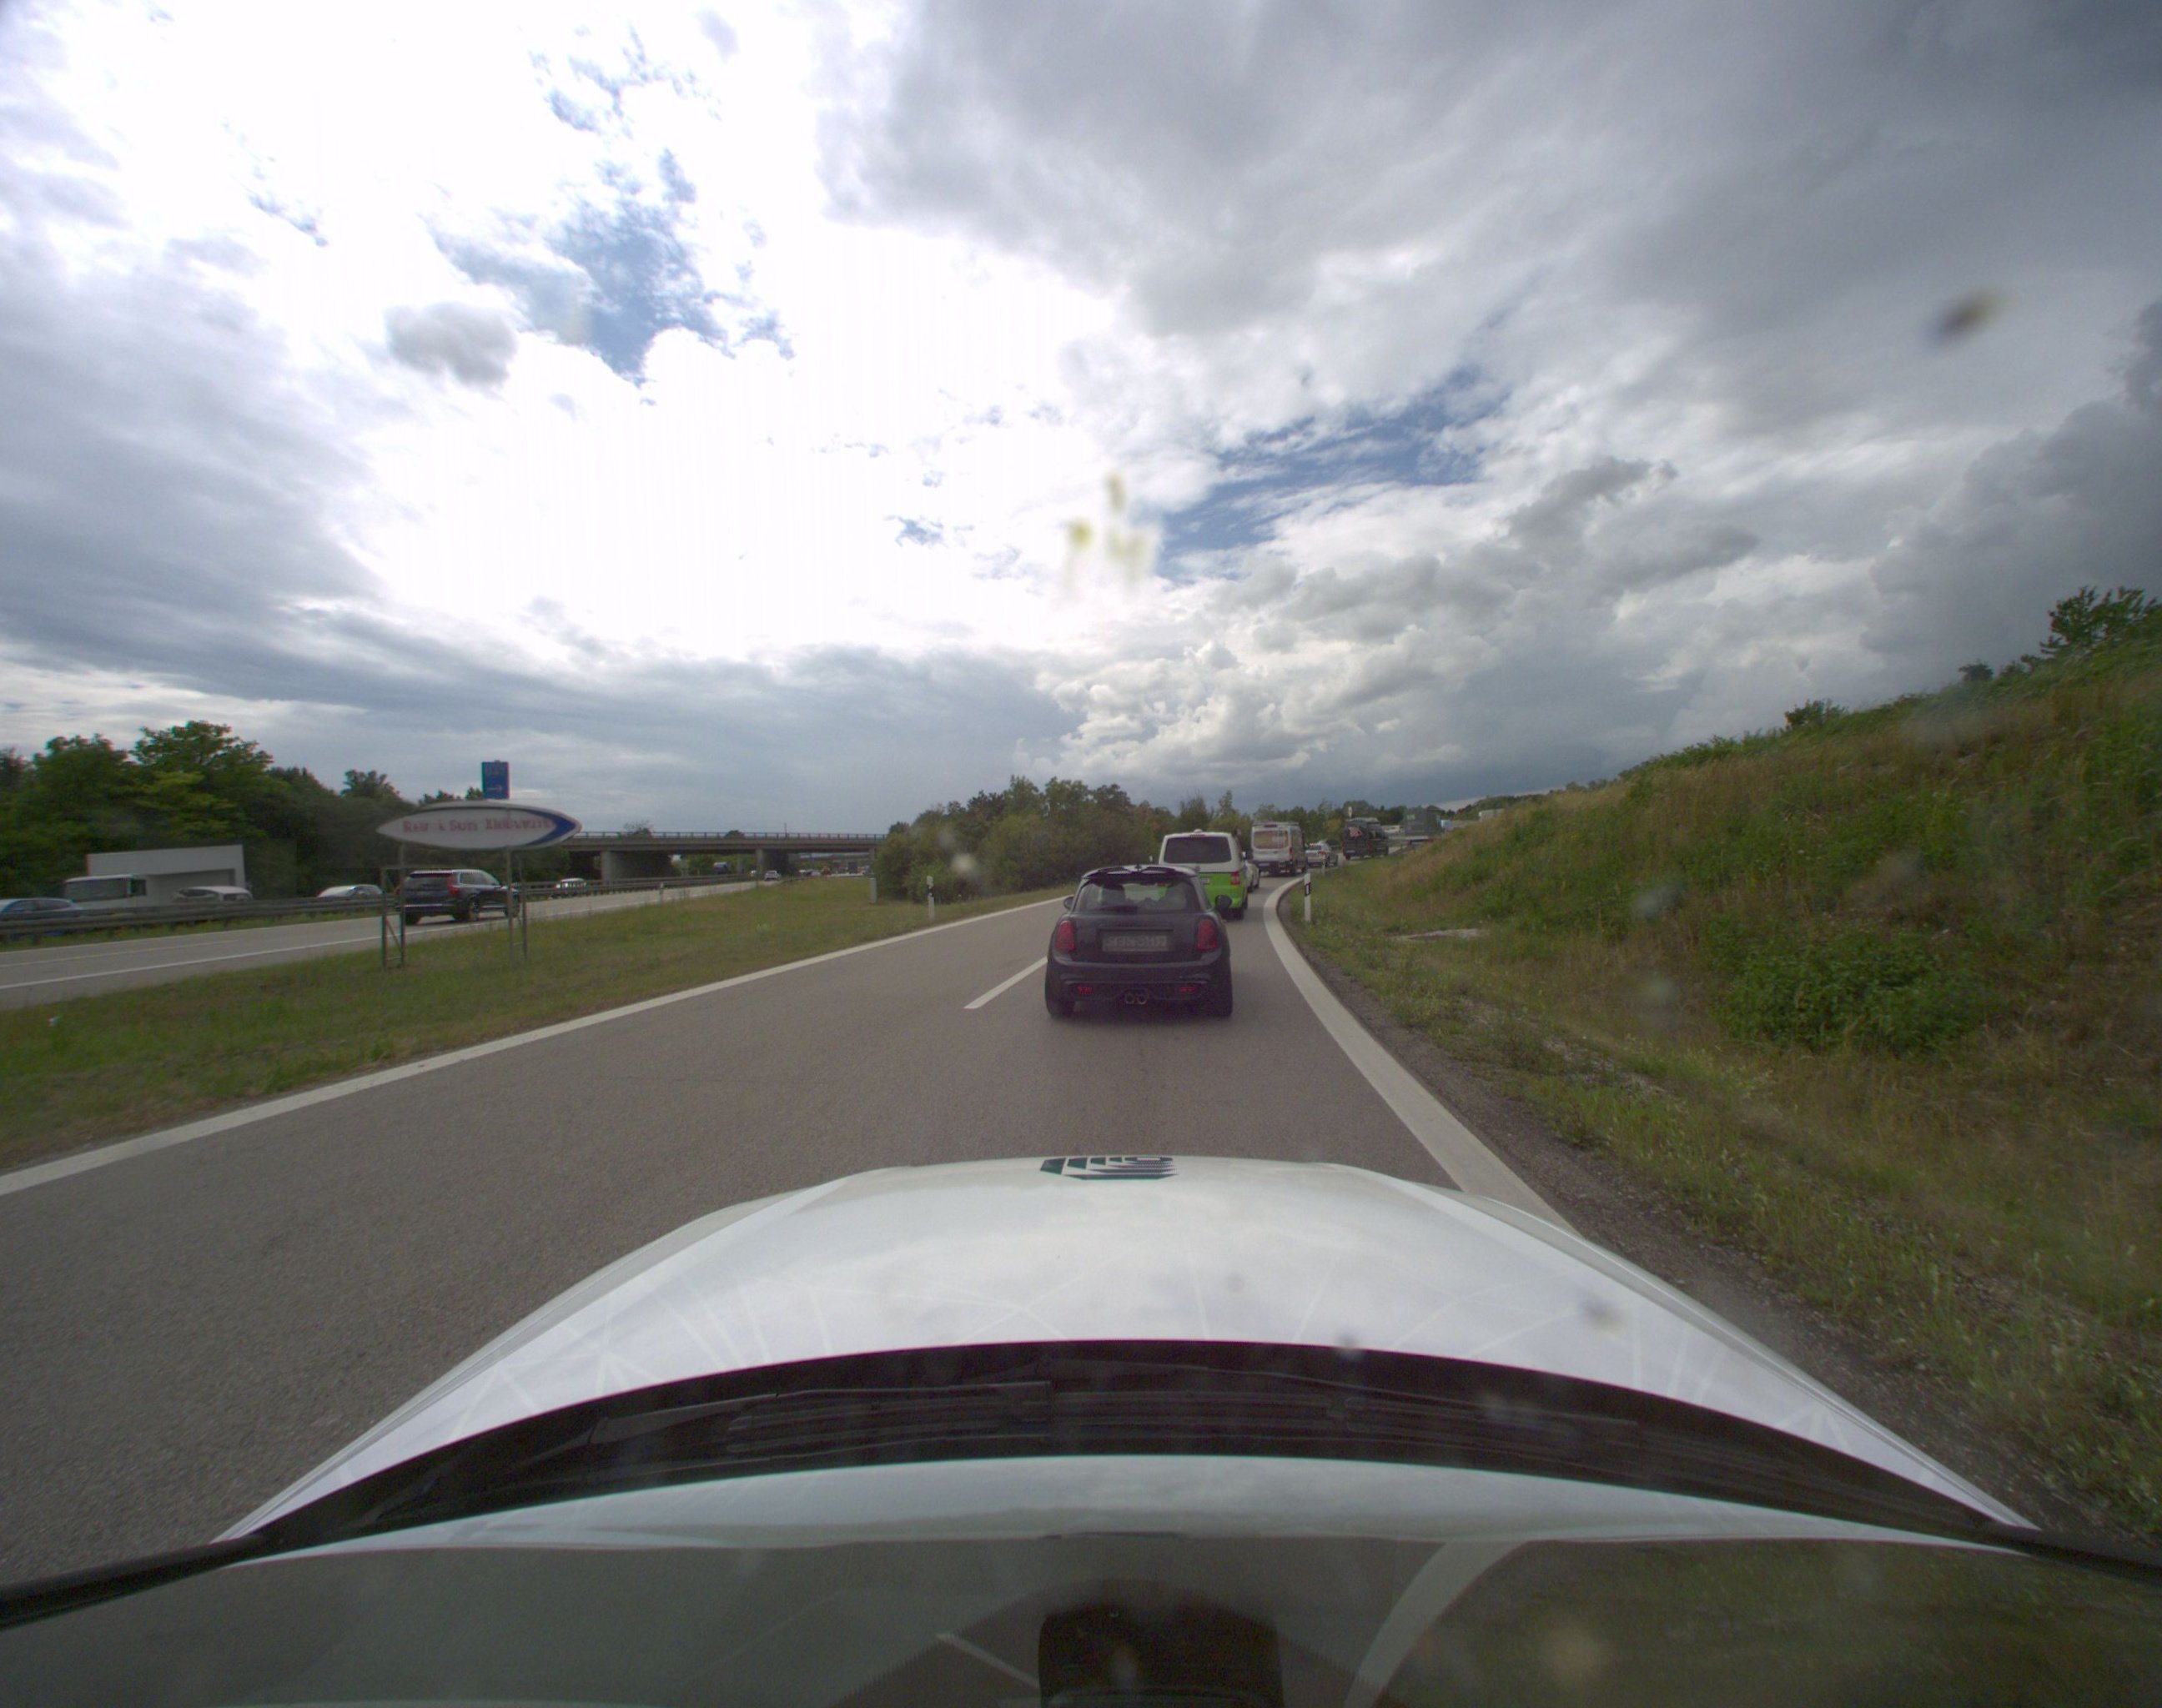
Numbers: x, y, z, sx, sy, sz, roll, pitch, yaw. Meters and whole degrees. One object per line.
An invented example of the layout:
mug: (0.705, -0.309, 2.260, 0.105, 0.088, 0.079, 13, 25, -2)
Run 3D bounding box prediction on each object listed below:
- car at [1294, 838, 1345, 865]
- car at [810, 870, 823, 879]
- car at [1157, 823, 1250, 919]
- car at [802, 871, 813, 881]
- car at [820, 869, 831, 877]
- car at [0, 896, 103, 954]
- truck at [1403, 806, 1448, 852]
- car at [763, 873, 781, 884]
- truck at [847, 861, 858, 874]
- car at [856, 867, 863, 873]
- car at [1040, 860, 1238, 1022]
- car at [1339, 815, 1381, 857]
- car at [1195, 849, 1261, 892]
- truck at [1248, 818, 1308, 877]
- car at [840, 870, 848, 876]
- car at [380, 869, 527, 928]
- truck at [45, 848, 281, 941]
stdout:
car: (14.220, -0.115, 48.380, 1.848, 1.510, 4.025, -2, -1, 32)
car: (-44.111, 3.408, 135.959, 1.720, 1.519, 3.980, -2, -1, -14)
car: (2.980, 0.381, 19.192, 1.771, 2.014, 4.015, -1, -1, 14)
car: (-53.956, 4.336, 160.636, 1.998, 2.014, 3.977, 0, -2, -16)
car: (-60.242, 4.570, 192.203, 1.996, 1.743, 4.807, -2, -1, -13)
car: (-33.682, 2.241, 25.415, 1.996, 1.629, 3.982, -2, -1, -13)
truck: (31.419, -2.211, 74.138, 2.207, 3.907, 6.054, -2, -2, 38)
car: (-44.075, 3.470, 116.091, 1.839, 1.453, 4.357, -2, -1, -14)
truck: (-63.284, 3.810, 225.904, 2.470, 3.371, 7.887, -2, -1, -13)
car: (-68.551, 4.961, 252.141, 1.995, 1.810, 3.983, -2, -1, -12)
car: (0.669, 0.787, 9.015, 1.719, 1.413, 3.730, -1, -1, 5)
car: (19.606, -1.193, 57.204, 2.085, 2.796, 4.024, -1, 0, 29)
car: (5.271, 0.551, 28.808, 1.748, 1.399, 3.743, -2, -1, 18)
truck: (9.770, -0.315, 40.081, 2.160, 2.658, 5.135, -2, 0, 21)
car: (-70.414, 5.610, 241.783, 1.847, 1.758, 4.316, -2, -1, -13)
car: (-21.286, 1.429, 27.933, 1.995, 1.761, 4.904, -2, -1, -12)
truck: (-40.936, 1.679, 36.866, 2.761, 3.646, 8.161, -2, -1, -13)
